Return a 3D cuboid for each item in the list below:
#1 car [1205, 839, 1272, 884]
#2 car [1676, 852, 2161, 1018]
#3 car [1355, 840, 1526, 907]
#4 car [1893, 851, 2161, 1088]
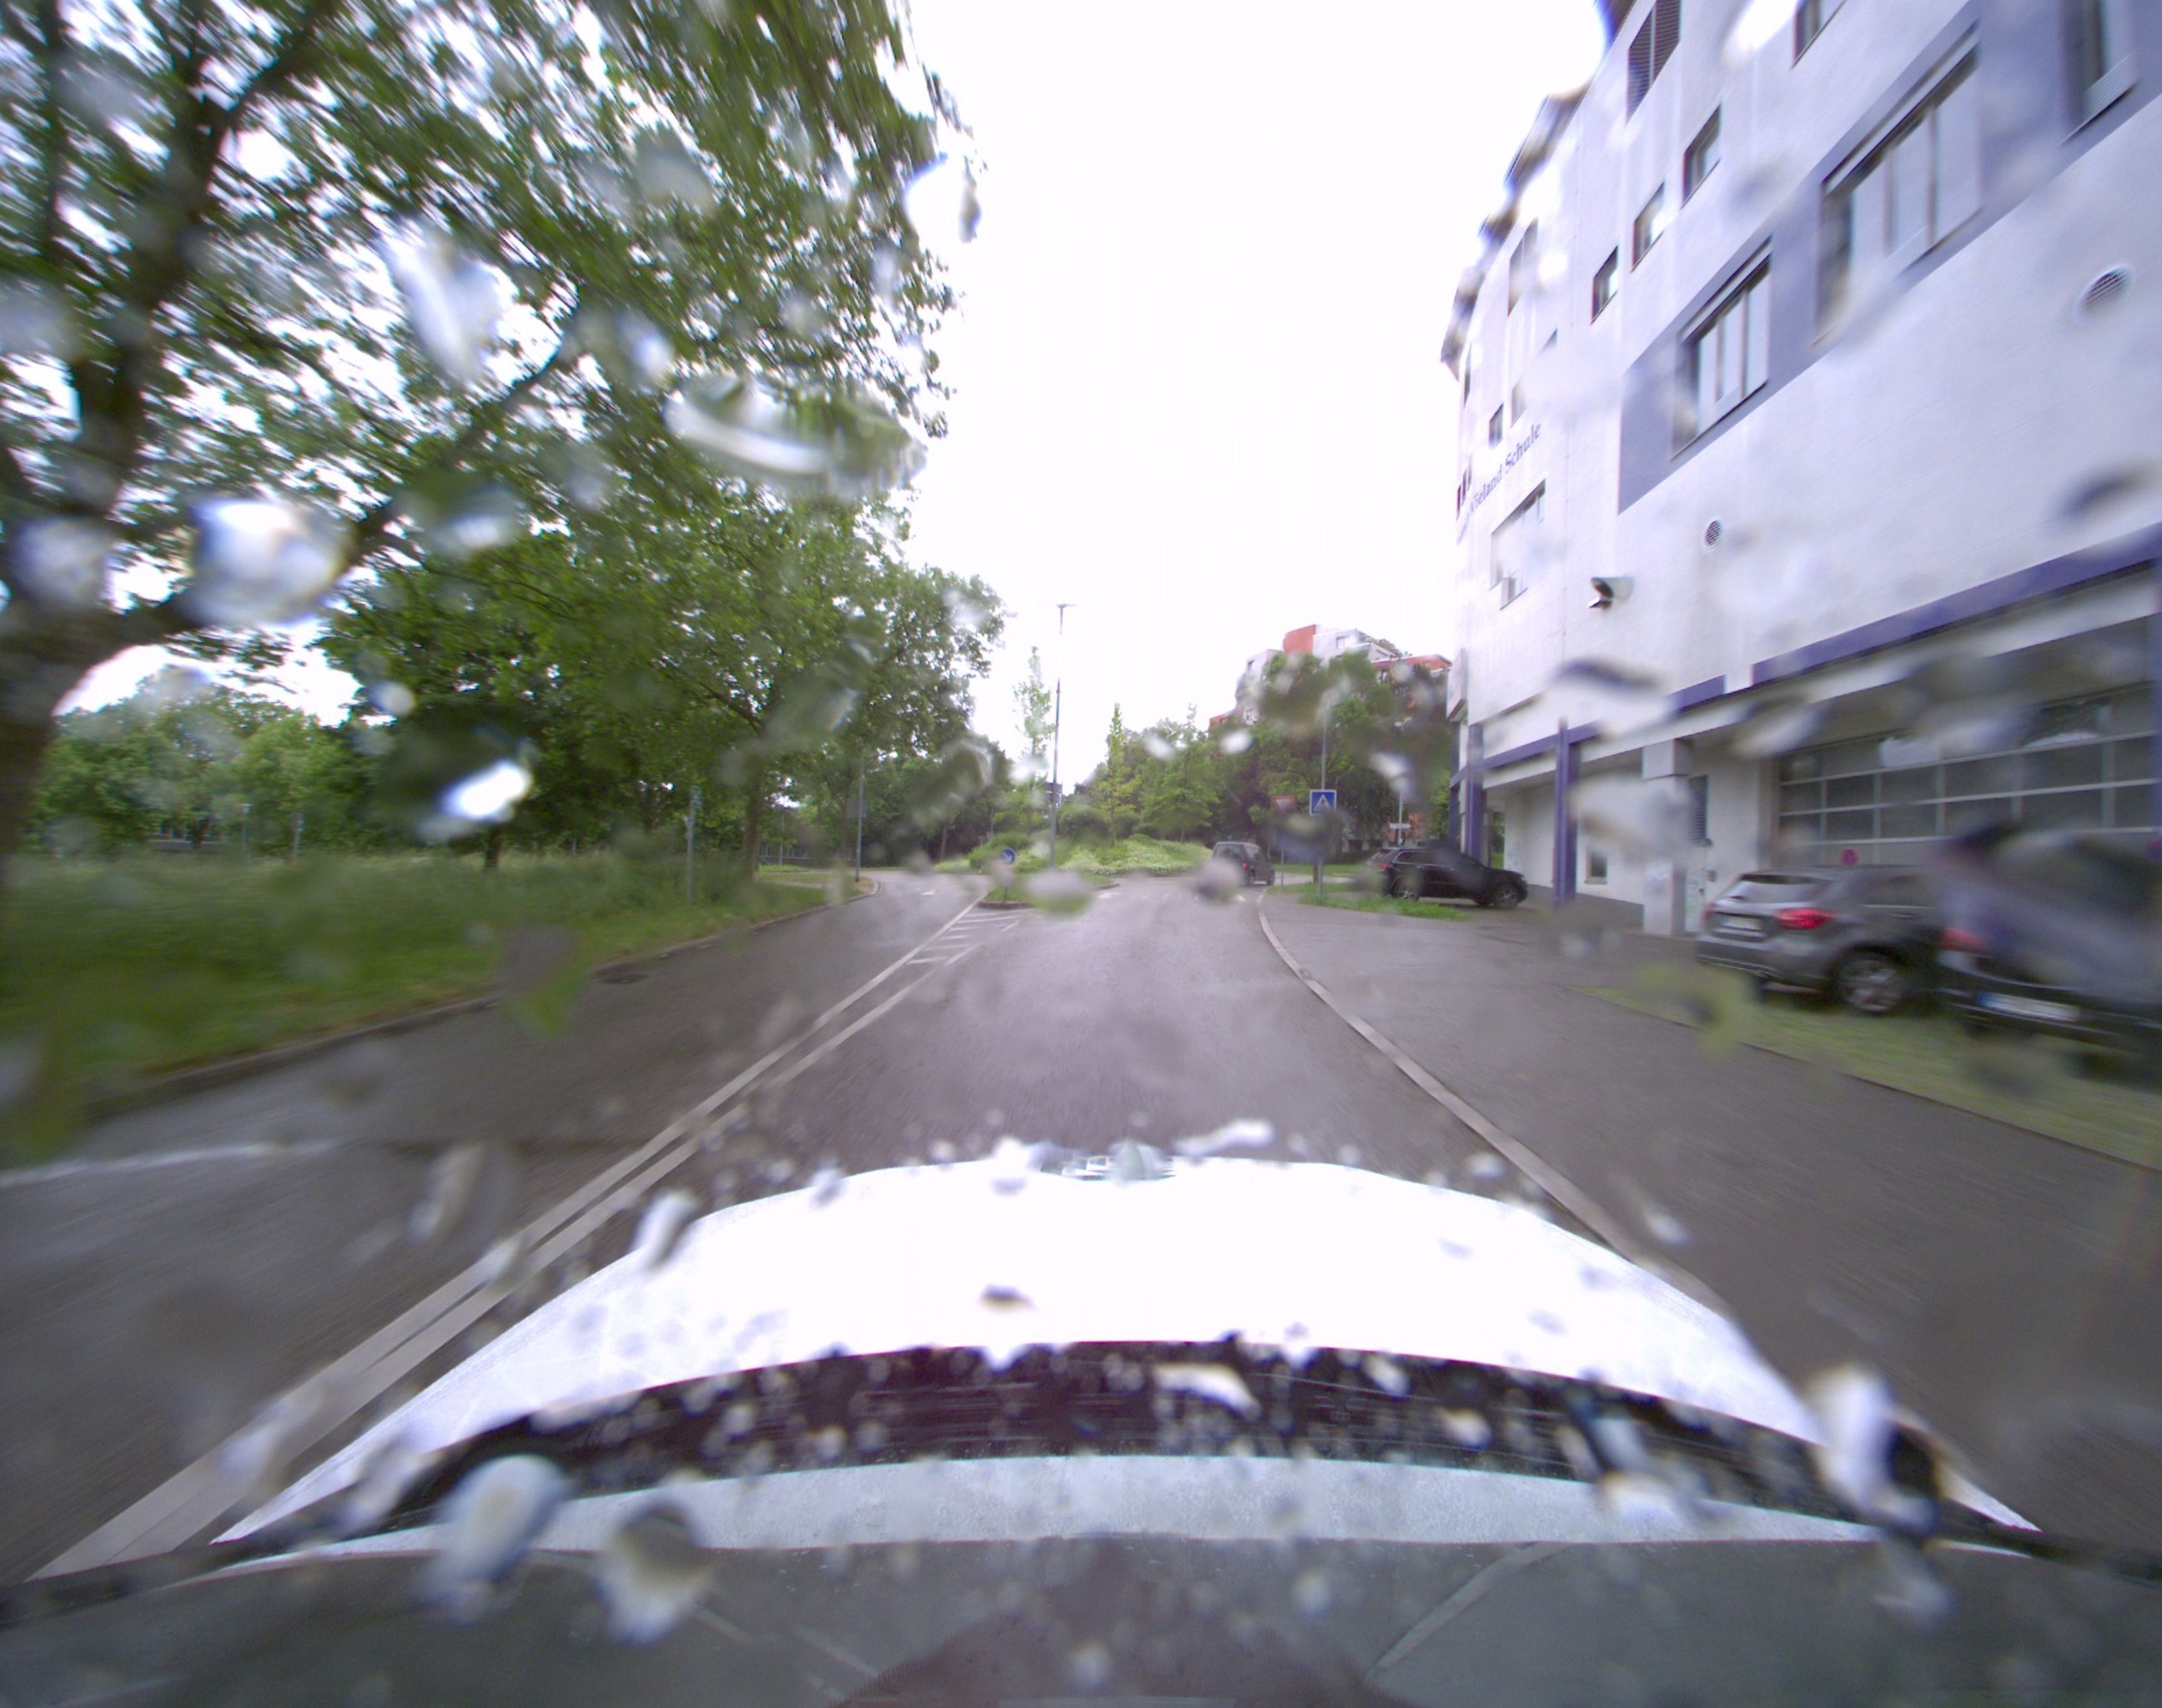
[{"bbox_3d":[6.807,0.295,34.892,1.901,1.801,3.812,0,0,26],"label":"car"},{"bbox_3d":[8.761,0.755,8.404,3.918,1.453,1.724,1,0,6],"label":"car"},{"bbox_3d":[10.894,0.556,24.936,4.357,1.758,1.832,3,2,4],"label":"car"},{"bbox_3d":[8.461,0.754,5.799,3.602,1.453,1.722,1,-1,2],"label":"car"}]
